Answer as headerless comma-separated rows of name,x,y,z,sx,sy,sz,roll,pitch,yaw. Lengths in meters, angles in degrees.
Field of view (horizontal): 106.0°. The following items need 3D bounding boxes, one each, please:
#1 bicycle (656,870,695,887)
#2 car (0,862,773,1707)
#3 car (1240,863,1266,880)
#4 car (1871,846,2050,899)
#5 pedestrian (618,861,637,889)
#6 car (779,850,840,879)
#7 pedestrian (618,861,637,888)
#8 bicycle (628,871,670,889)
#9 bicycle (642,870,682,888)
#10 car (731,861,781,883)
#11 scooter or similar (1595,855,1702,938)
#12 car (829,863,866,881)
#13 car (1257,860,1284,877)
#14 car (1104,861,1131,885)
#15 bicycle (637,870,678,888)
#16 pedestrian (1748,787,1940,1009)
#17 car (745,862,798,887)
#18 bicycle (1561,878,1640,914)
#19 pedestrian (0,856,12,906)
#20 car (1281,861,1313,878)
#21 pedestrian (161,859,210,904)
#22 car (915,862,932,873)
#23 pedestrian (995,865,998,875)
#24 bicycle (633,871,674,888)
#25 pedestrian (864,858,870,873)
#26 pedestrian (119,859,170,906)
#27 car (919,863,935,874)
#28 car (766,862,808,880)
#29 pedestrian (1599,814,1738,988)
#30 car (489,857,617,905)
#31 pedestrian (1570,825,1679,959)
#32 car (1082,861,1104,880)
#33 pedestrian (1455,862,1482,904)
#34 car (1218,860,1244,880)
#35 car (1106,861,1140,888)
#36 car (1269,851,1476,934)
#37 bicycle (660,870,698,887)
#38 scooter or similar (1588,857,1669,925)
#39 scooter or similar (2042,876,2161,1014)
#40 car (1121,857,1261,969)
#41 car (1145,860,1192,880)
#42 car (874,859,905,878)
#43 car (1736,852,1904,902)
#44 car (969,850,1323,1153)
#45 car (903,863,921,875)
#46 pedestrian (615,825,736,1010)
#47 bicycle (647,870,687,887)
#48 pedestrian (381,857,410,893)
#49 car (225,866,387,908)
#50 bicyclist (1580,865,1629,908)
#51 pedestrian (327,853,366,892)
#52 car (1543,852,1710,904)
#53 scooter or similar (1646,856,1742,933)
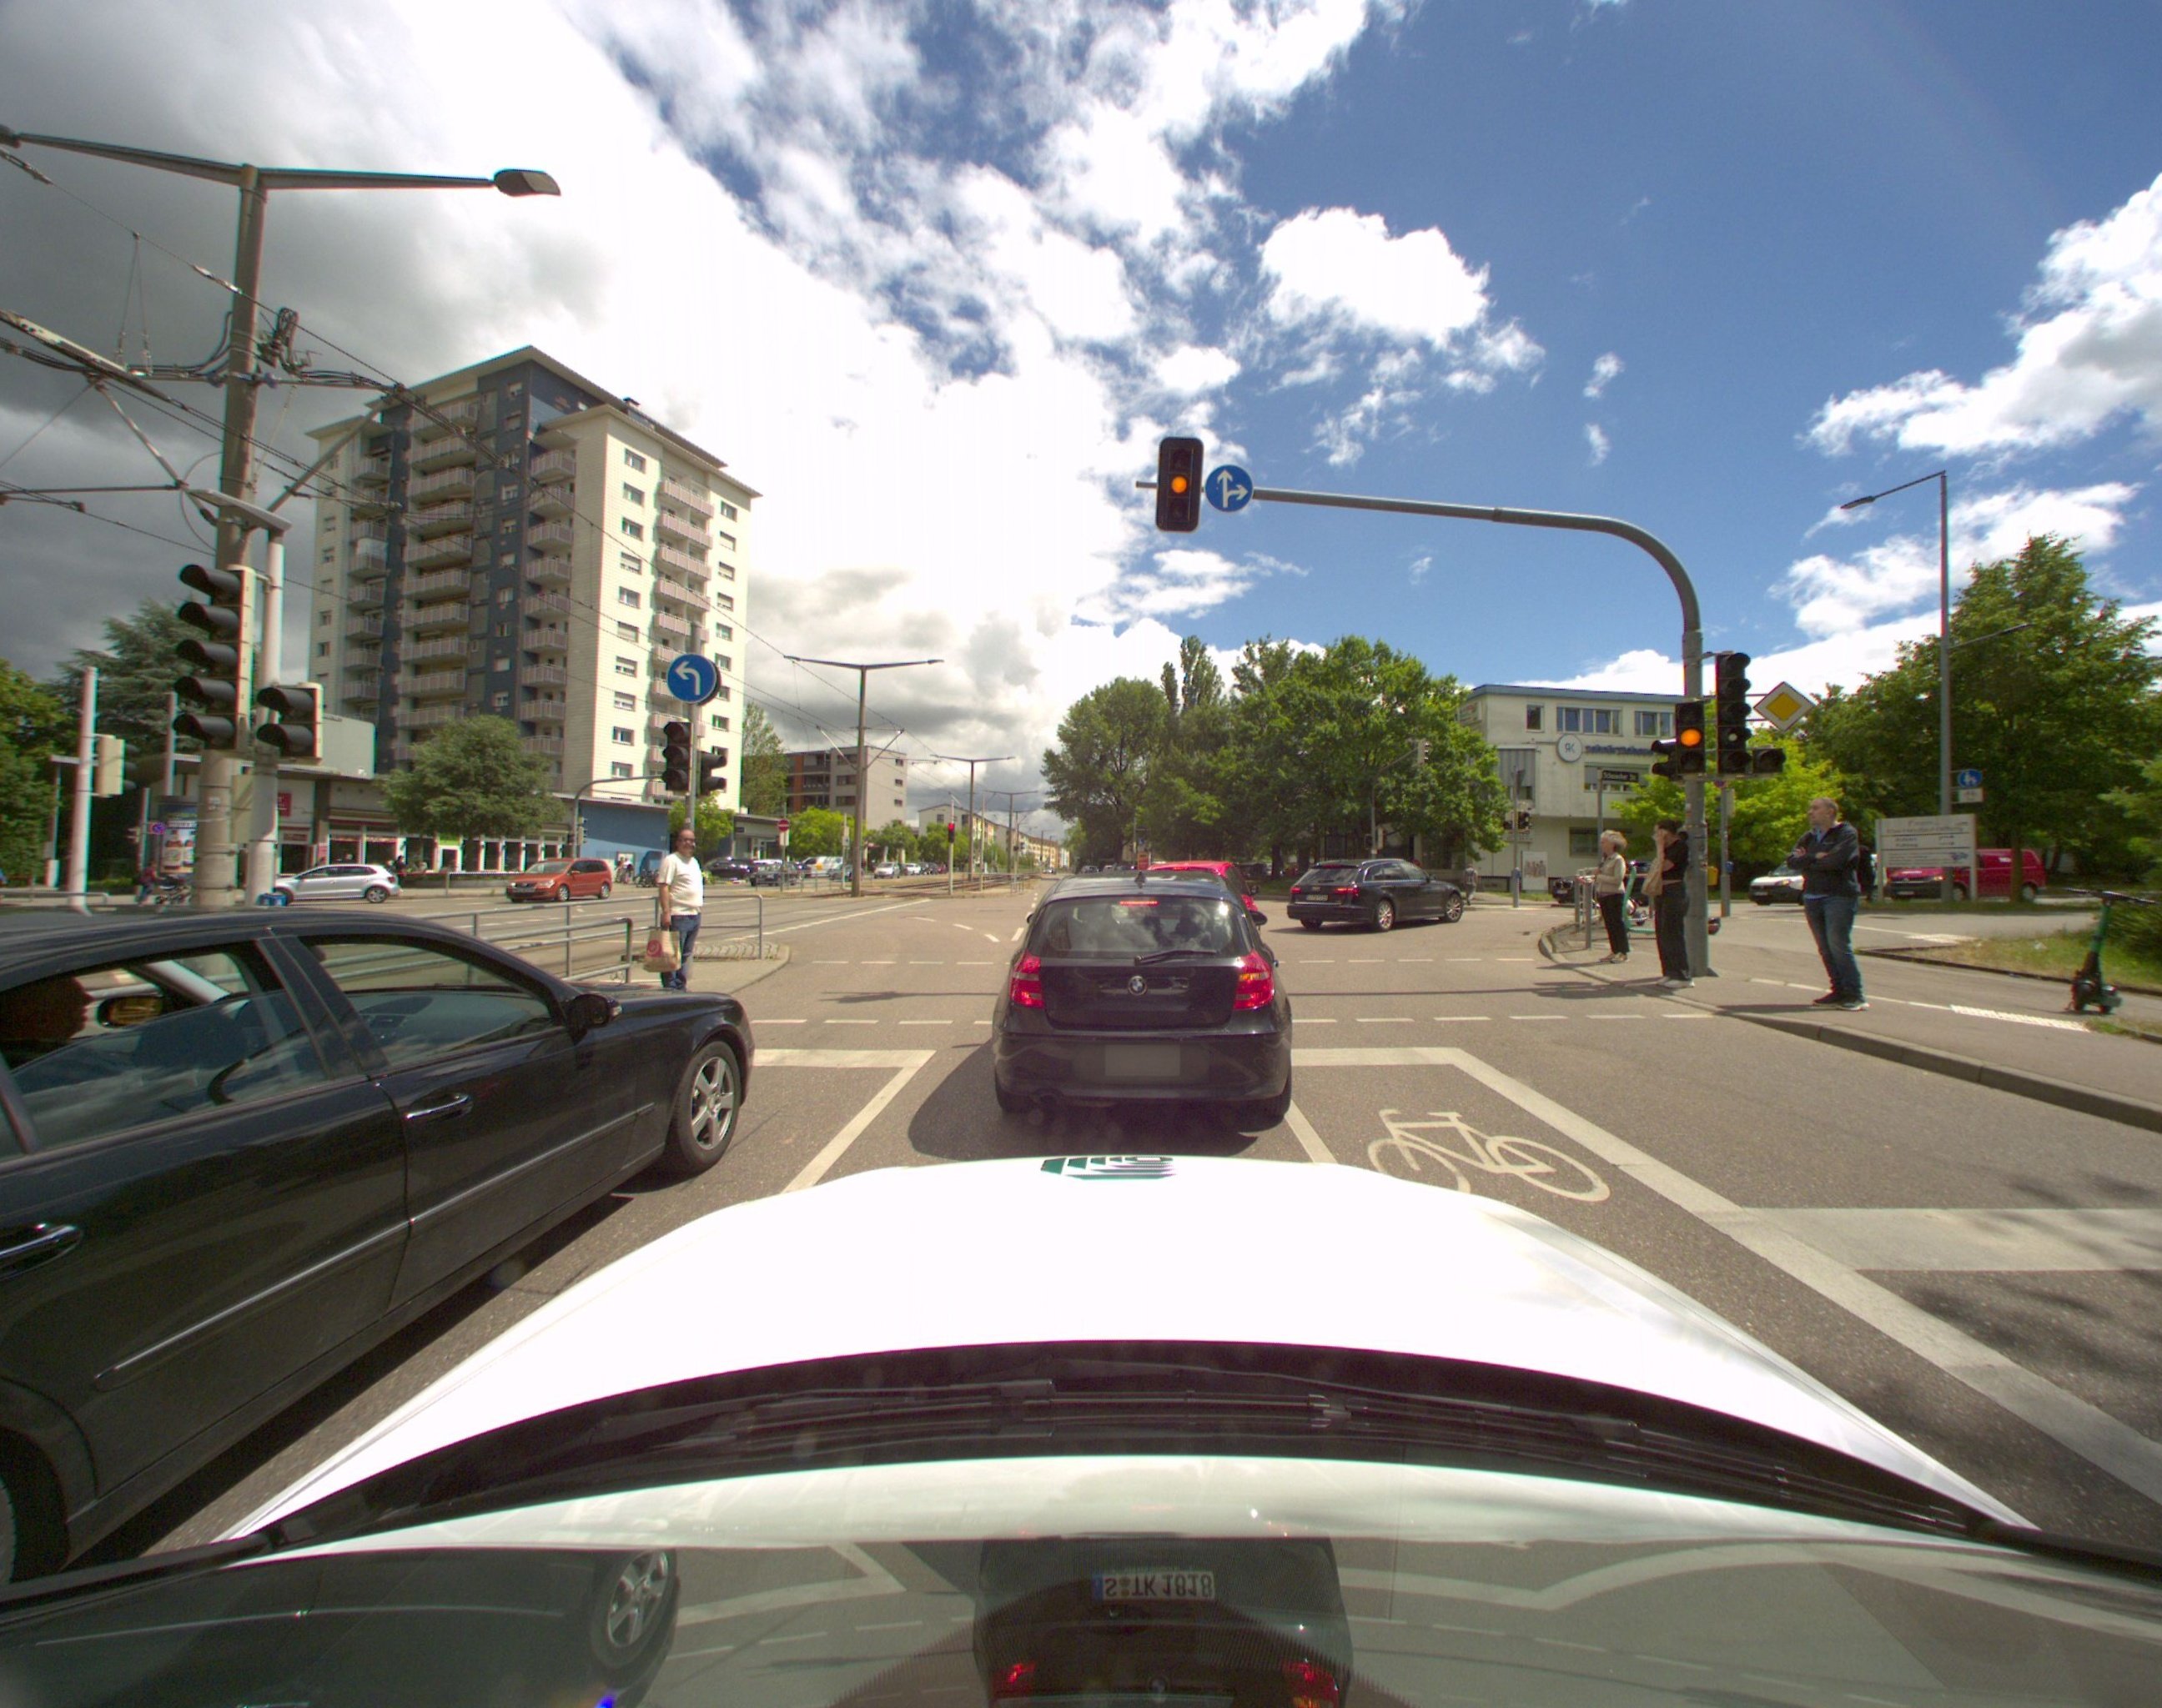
bicycle,-23.121,1.397,46.441,1.943,0.935,0.494,0,-1,-5
car,-2.714,0.770,2.418,1.721,1.461,4.546,0,0,2
car,16.299,1.631,77.321,1.626,1.573,4.030,0,0,-1
car,31.890,0.671,29.603,4.800,1.864,1.995,0,-2,-8
pedestrian,-27.633,1.284,49.635,0.951,1.659,1.088,0,-1,-32
car,-24.328,0.914,72.726,2.848,2.478,6.642,0,0,-41
pedestrian,-28.231,1.273,50.682,0.951,1.659,1.088,0,-1,-32
bicycle,-23.198,1.375,43.788,1.943,0.935,0.494,0,-1,-5
bicycle,-23.302,1.389,45.282,1.943,0.935,0.494,0,-1,-5
car,-24.504,1.355,61.335,4.165,1.570,1.973,0,0,45
scooter or similar,8.975,0.654,12.913,1.336,1.277,0.463,0,1,8
car,-18.417,1.403,64.305,1.629,1.399,4.492,0,-1,0
car,18.321,1.397,78.712,1.626,1.595,3.998,0,0,-1
car,2.734,1.442,61.749,1.986,1.684,4.001,0,-1,2
bicycle,-23.266,1.384,44.797,1.943,0.935,0.494,0,-1,-5
pedestrian,7.065,0.385,7.595,0.963,1.942,0.896,0,0,-3
car,-19.395,1.253,51.188,1.624,1.414,4.254,-1,1,0
bicycle,12.830,1.024,20.181,0.789,0.819,1.807,0,0,-2
pedestrian,-35.355,0.845,26.148,0.760,1.616,0.780,3,-5,2
car,20.948,1.513,79.022,1.728,1.595,3.992,0,0,-5
pedestrian,-33.290,1.016,30.291,0.957,1.659,1.002,-1,-1,28
car,-20.963,1.808,108.284,1.758,1.395,3.993,0,0,-5
pedestrian,-13.406,2.539,129.546,0.477,1.637,0.454,0,-1,1
bicycle,-23.243,1.380,44.291,1.943,0.935,0.494,0,-1,-5
pedestrian,-24.560,1.338,93.516,0.547,1.716,0.404,0,-1,-8
pedestrian,-33.696,1.010,29.307,0.957,1.659,1.002,-1,-1,28
car,-21.298,2.017,112.860,1.758,1.395,3.993,0,0,-5
car,-24.476,1.358,67.657,1.800,1.420,4.166,0,0,-43
pedestrian,6.339,0.480,8.824,0.933,1.765,0.770,-1,0,-10
car,-19.647,0.941,30.573,1.989,1.635,4.456,-2,0,-3
pedestrian,7.122,0.481,10.720,0.945,1.674,0.874,-1,-1,17
car,1.188,1.557,77.190,1.986,1.684,4.002,0,0,2
pedestrian,15.288,1.132,32.154,0.764,1.643,0.910,0,0,9
car,14.058,1.518,76.571,1.626,1.811,4.030,0,0,-1
car,2.774,1.349,54.295,2.144,1.684,4.001,0,-1,2
car,6.303,0.732,17.411,4.541,1.554,1.978,0,-1,-37
bicycle,-23.160,1.402,46.919,1.943,0.935,0.494,0,-1,-5
scooter or similar,9.884,0.662,14.699,1.360,1.156,0.540,1,0,-23
scooter or similar,10.622,0.929,8.472,1.247,1.275,0.709,6,-1,-38
car,1.775,0.766,12.278,1.529,1.441,3.211,0,0,18
car,8.134,1.500,75.685,4.001,1.823,1.766,0,0,-21
car,-18.248,1.368,77.793,1.930,1.693,3.874,0,0,2
car,26.299,0.784,29.048,4.555,1.717,1.995,0,0,-8
car,0.389,0.724,6.019,1.746,1.487,4.002,0,0,2
car,-21.087,1.842,101.703,1.758,1.395,3.993,0,0,-5
pedestrian,-4.118,0.619,8.337,0.866,1.808,0.741,0,0,-2
bicycle,-23.287,1.393,45.828,1.943,0.935,0.494,0,-1,-5
pedestrian,-31.632,0.962,37.584,0.767,1.615,0.695,0,-1,-12
car,-27.210,1.121,28.801,4.020,1.398,1.678,1,-2,-40
bicyclist,12.833,0.790,19.985,0.789,1.022,0.635,0,-1,-2
pedestrian,-36.939,0.919,40.967,0.861,1.917,1.215,0,0,2
car,18.618,0.796,27.920,4.551,1.717,1.996,0,0,-5
scooter or similar,10.364,0.681,13.784,1.225,1.240,0.555,2,0,-7
